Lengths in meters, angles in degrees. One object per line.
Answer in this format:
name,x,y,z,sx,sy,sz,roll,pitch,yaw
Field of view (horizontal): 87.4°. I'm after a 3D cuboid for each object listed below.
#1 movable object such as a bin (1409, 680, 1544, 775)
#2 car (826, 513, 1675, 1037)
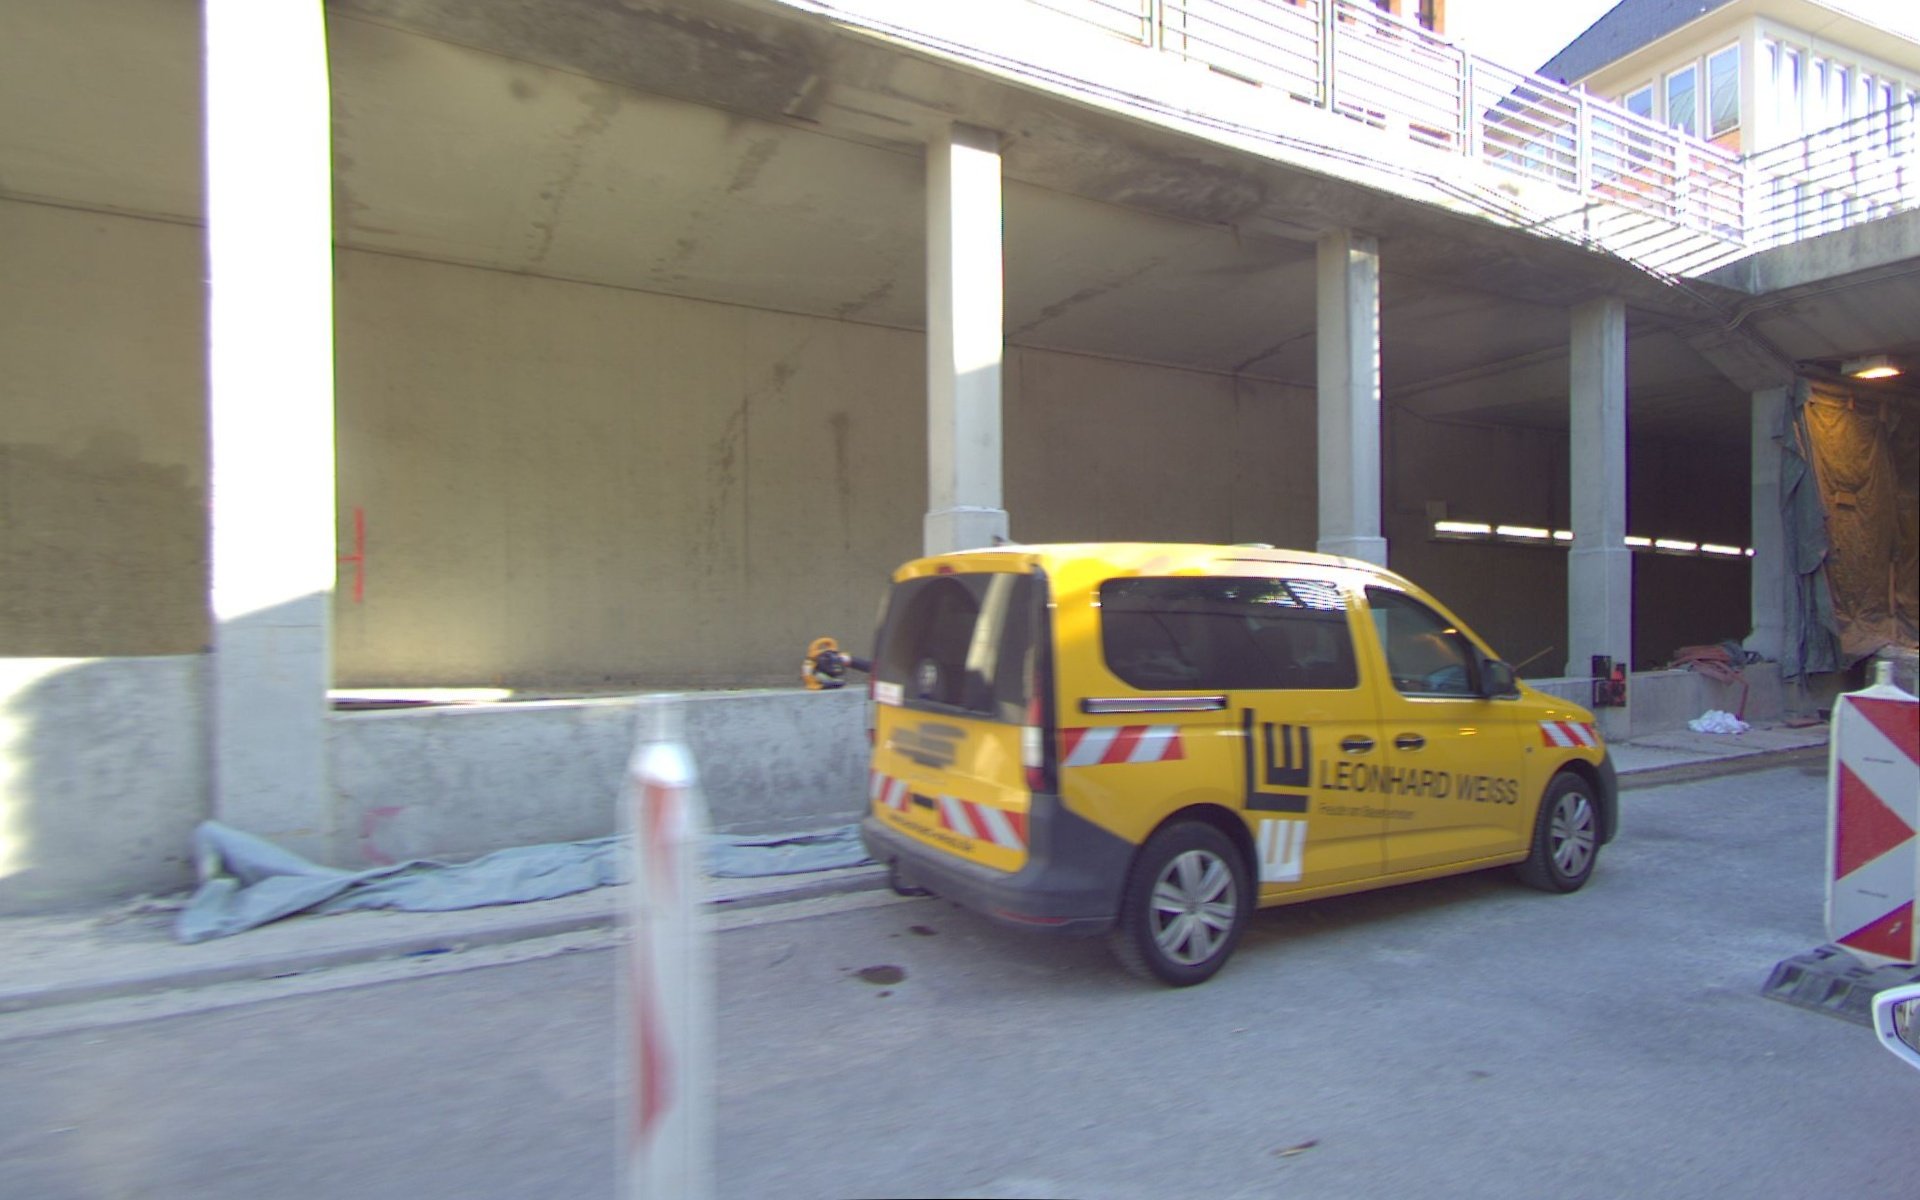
movable object such as a bin,4.680,1.129,9.102,1.019,0.751,0.648,1,-1,-30
car,1.670,0.616,5.353,4.381,1.799,1.839,0,0,-30
